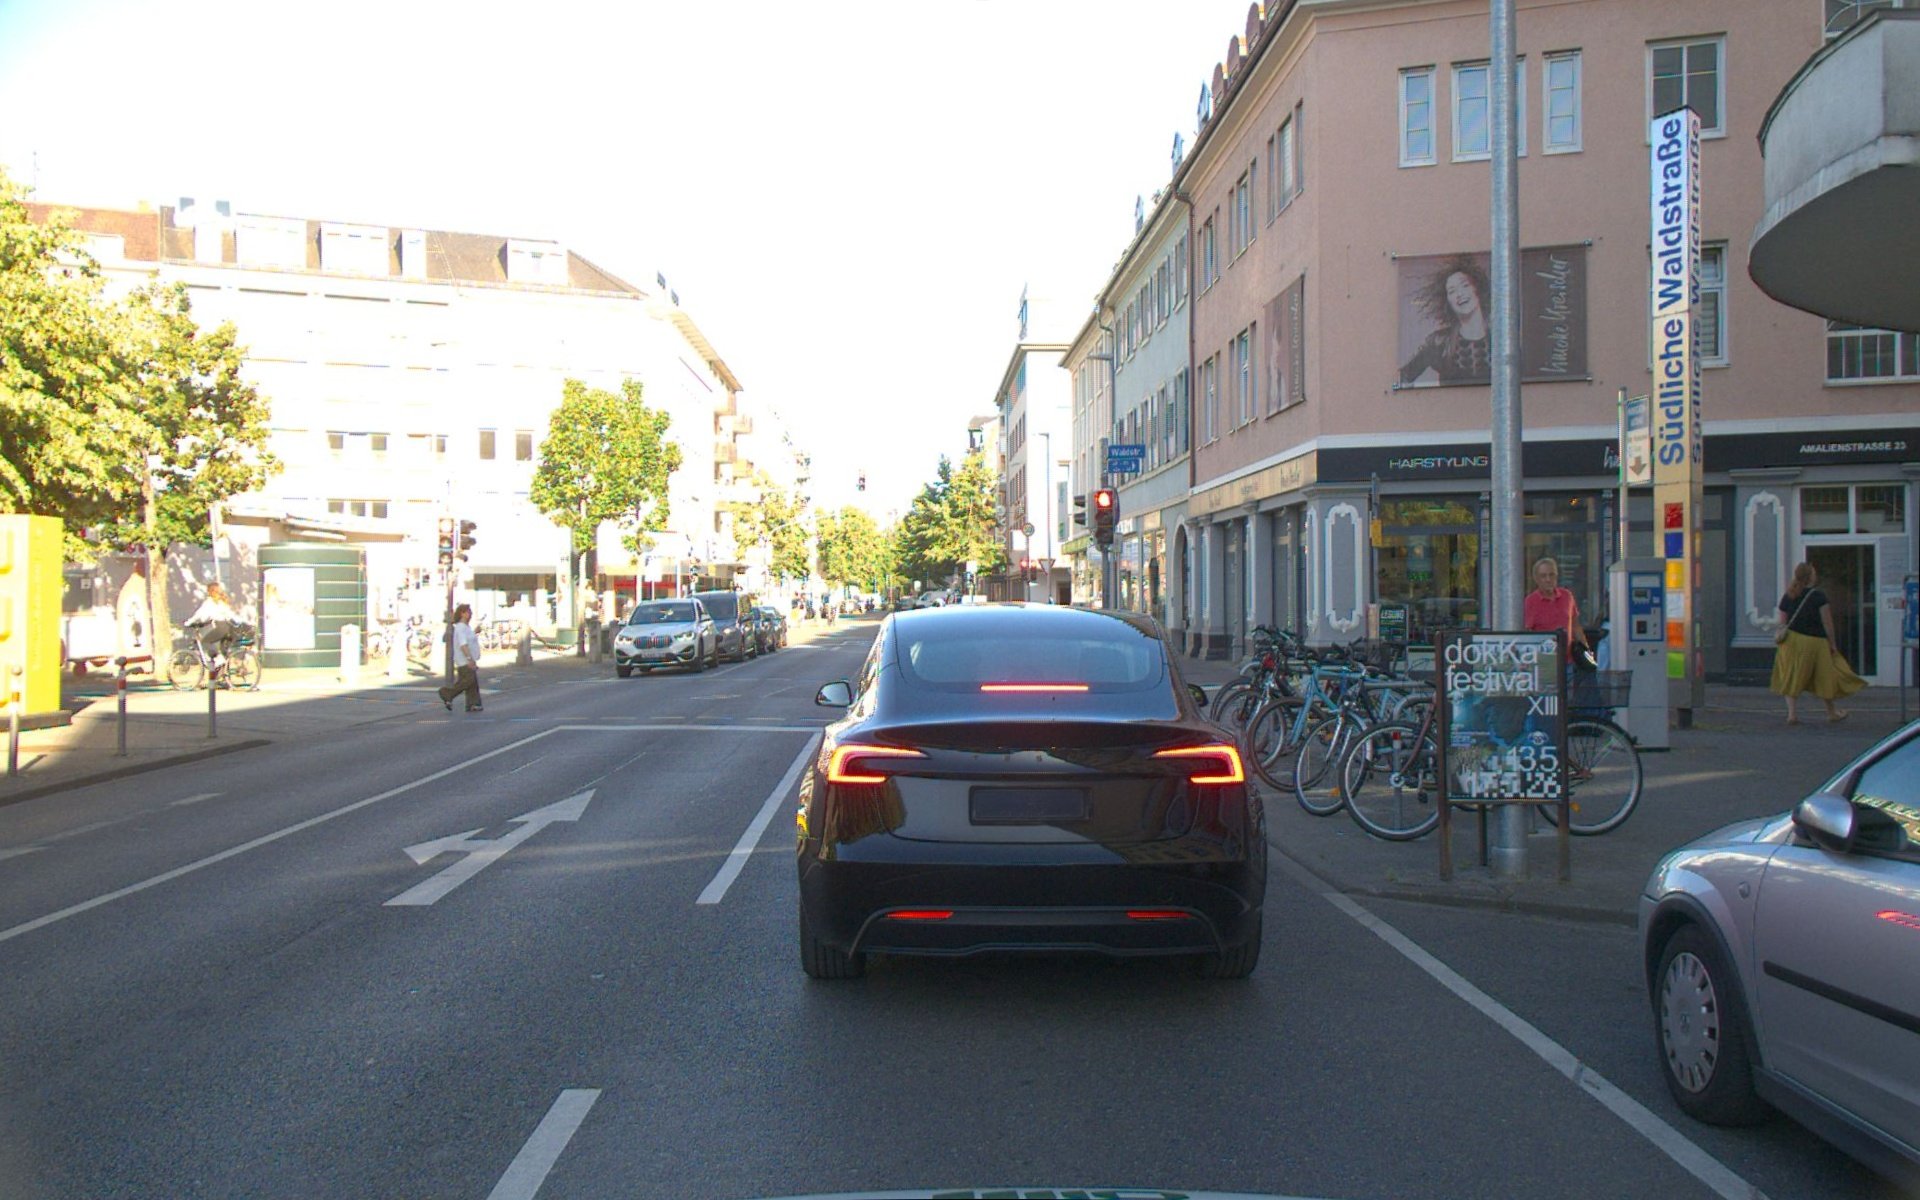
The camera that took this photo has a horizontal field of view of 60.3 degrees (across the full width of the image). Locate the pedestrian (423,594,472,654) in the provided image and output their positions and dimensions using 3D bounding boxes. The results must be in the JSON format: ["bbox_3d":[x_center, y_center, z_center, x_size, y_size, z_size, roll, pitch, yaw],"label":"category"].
[{"bbox_3d":[-14.345,0.662,46.343,1.241,1.639,1.092,1,0,-15],"label":"pedestrian"}]

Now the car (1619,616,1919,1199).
[{"bbox_3d":[2.922,0.782,3.529,1.551,1.451,3.579,1,0,-1],"label":"car"}]

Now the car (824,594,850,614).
[{"bbox_3d":[-12.347,0.398,166.254,2.365,2.004,4.677,0,0,-1],"label":"car"}]

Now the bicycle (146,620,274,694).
[{"bbox_3d":[-12.659,0.949,27.934,1.912,1.178,0.576,1,0,7],"label":"bicycle"}]

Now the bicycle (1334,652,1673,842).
[{"bbox_3d":[3.279,0.876,10.083,1.844,1.062,0.653,-1,0,0],"label":"bicycle"}]

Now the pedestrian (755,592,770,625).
[{"bbox_3d":[-11.529,0.482,96.770,0.721,1.900,0.787,1,-1,-17],"label":"pedestrian"}]

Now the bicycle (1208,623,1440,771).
[{"bbox_3d":[2.978,0.784,13.631,1.776,1.172,0.653,0,0,0],"label":"bicycle"}]

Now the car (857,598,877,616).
[{"bbox_3d":[-10.505,0.832,186.958,2.089,2.004,4.133,0,0,-1],"label":"car"}]

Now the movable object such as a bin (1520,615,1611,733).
[{"bbox_3d":[6.042,0.723,16.533,0.623,1.122,0.728,-2,0,3],"label":"movable object such as a bin"}]

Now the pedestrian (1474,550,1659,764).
[{"bbox_3d":[5.171,0.474,14.154,1.040,1.750,1.109,1,0,-14],"label":"pedestrian"}]

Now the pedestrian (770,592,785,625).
[{"bbox_3d":[-10.728,0.497,97.001,0.721,1.900,0.787,1,-1,-17],"label":"pedestrian"}]

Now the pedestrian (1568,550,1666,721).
[{"bbox_3d":[7.542,0.407,19.014,0.667,1.882,0.893,-3,-1,1],"label":"pedestrian"}]

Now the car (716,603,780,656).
[{"bbox_3d":[-6.336,0.856,49.683,1.431,1.455,3.605,-3,0,-1],"label":"car"}]

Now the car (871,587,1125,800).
[{"bbox_3d":[0.243,0.687,14.187,1.812,1.507,4.450,1,0,-1],"label":"car"}]

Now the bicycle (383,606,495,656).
[{"bbox_3d":[-14.124,0.846,44.914,2.725,1.296,0.932,1,0,-4],"label":"bicycle"}]

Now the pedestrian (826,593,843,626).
[{"bbox_3d":[-7.253,0.551,95.484,0.761,1.900,1.005,1,-1,-14],"label":"pedestrian"}]

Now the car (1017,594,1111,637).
[{"bbox_3d":[4.712,0.704,74.732,3.937,1.900,1.686,0,0,-22],"label":"car"}]

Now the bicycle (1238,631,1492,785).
[{"bbox_3d":[3.050,0.806,12.558,1.776,1.121,0.653,0,0,0],"label":"bicycle"}]

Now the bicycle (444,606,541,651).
[{"bbox_3d":[-14.010,0.848,49.634,2.609,1.281,0.942,1,0,-4],"label":"bicycle"}]

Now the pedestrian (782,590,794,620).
[{"bbox_3d":[-10.768,0.315,103.706,0.681,1.900,0.658,1,-1,-6],"label":"pedestrian"}]

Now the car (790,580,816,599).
[{"bbox_3d":[-17.021,-1.126,179.397,2.228,2.049,4.717,1,0,0],"label":"car"}]

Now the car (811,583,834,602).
[{"bbox_3d":[-15.604,-0.814,188.053,2.228,2.049,4.717,1,0,0],"label":"car"}]

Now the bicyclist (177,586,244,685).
[{"bbox_3d":[-12.647,0.591,27.928,0.808,1.642,0.580,1,0,7],"label":"bicyclist"}]

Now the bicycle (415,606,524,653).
[{"bbox_3d":[-14.001,0.833,47.316,2.818,1.292,0.942,1,0,-4],"label":"bicycle"}]

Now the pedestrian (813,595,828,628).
[{"bbox_3d":[-8.051,0.659,95.580,0.683,1.900,0.906,1,-1,-14],"label":"pedestrian"}]

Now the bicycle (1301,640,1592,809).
[{"bbox_3d":[3.250,0.823,11.155,1.776,1.078,0.653,0,0,0],"label":"bicycle"}]

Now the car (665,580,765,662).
[{"bbox_3d":[-6.231,0.508,42.557,1.906,1.981,4.819,0,0,-1],"label":"car"}]

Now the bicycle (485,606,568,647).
[{"bbox_3d":[-14.228,0.860,54.330,2.491,1.273,0.942,1,0,-4],"label":"bicycle"}]

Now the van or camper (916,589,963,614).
[{"bbox_3d":[-2.071,0.173,167.511,4.752,2.481,1.850,0,0,-1],"label":"van or camper"}]

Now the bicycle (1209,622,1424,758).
[{"bbox_3d":[3.162,0.793,14.768,1.776,1.172,0.653,0,0,0],"label":"bicycle"}]

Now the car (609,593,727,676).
[{"bbox_3d":[-6.323,0.713,36.229,1.788,1.592,4.299,-4,0,-1],"label":"car"}]

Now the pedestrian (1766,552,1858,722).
[{"bbox_3d":[9.241,0.398,17.935,0.709,1.785,0.785,-3,-1,35],"label":"pedestrian"}]

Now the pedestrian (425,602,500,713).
[{"bbox_3d":[-7.193,0.826,23.948,0.904,1.570,0.694,1,-1,-6],"label":"pedestrian"}]

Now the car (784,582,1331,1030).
[{"bbox_3d":[0.300,0.701,7.763,1.812,1.472,4.450,1,0,-1],"label":"car"}]

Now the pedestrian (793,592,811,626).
[{"bbox_3d":[-9.021,0.517,94.575,0.719,1.900,0.790,1,-1,28],"label":"pedestrian"}]

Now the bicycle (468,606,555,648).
[{"bbox_3d":[-14.062,0.853,51.909,2.491,1.273,0.942,1,0,-4],"label":"bicycle"}]

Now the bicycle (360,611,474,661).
[{"bbox_3d":[-13.950,0.928,42.577,2.607,1.216,0.942,1,0,-4],"label":"bicycle"}]

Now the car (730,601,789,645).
[{"bbox_3d":[-6.825,0.767,56.627,1.660,1.414,3.914,-1,0,-3],"label":"car"}]
